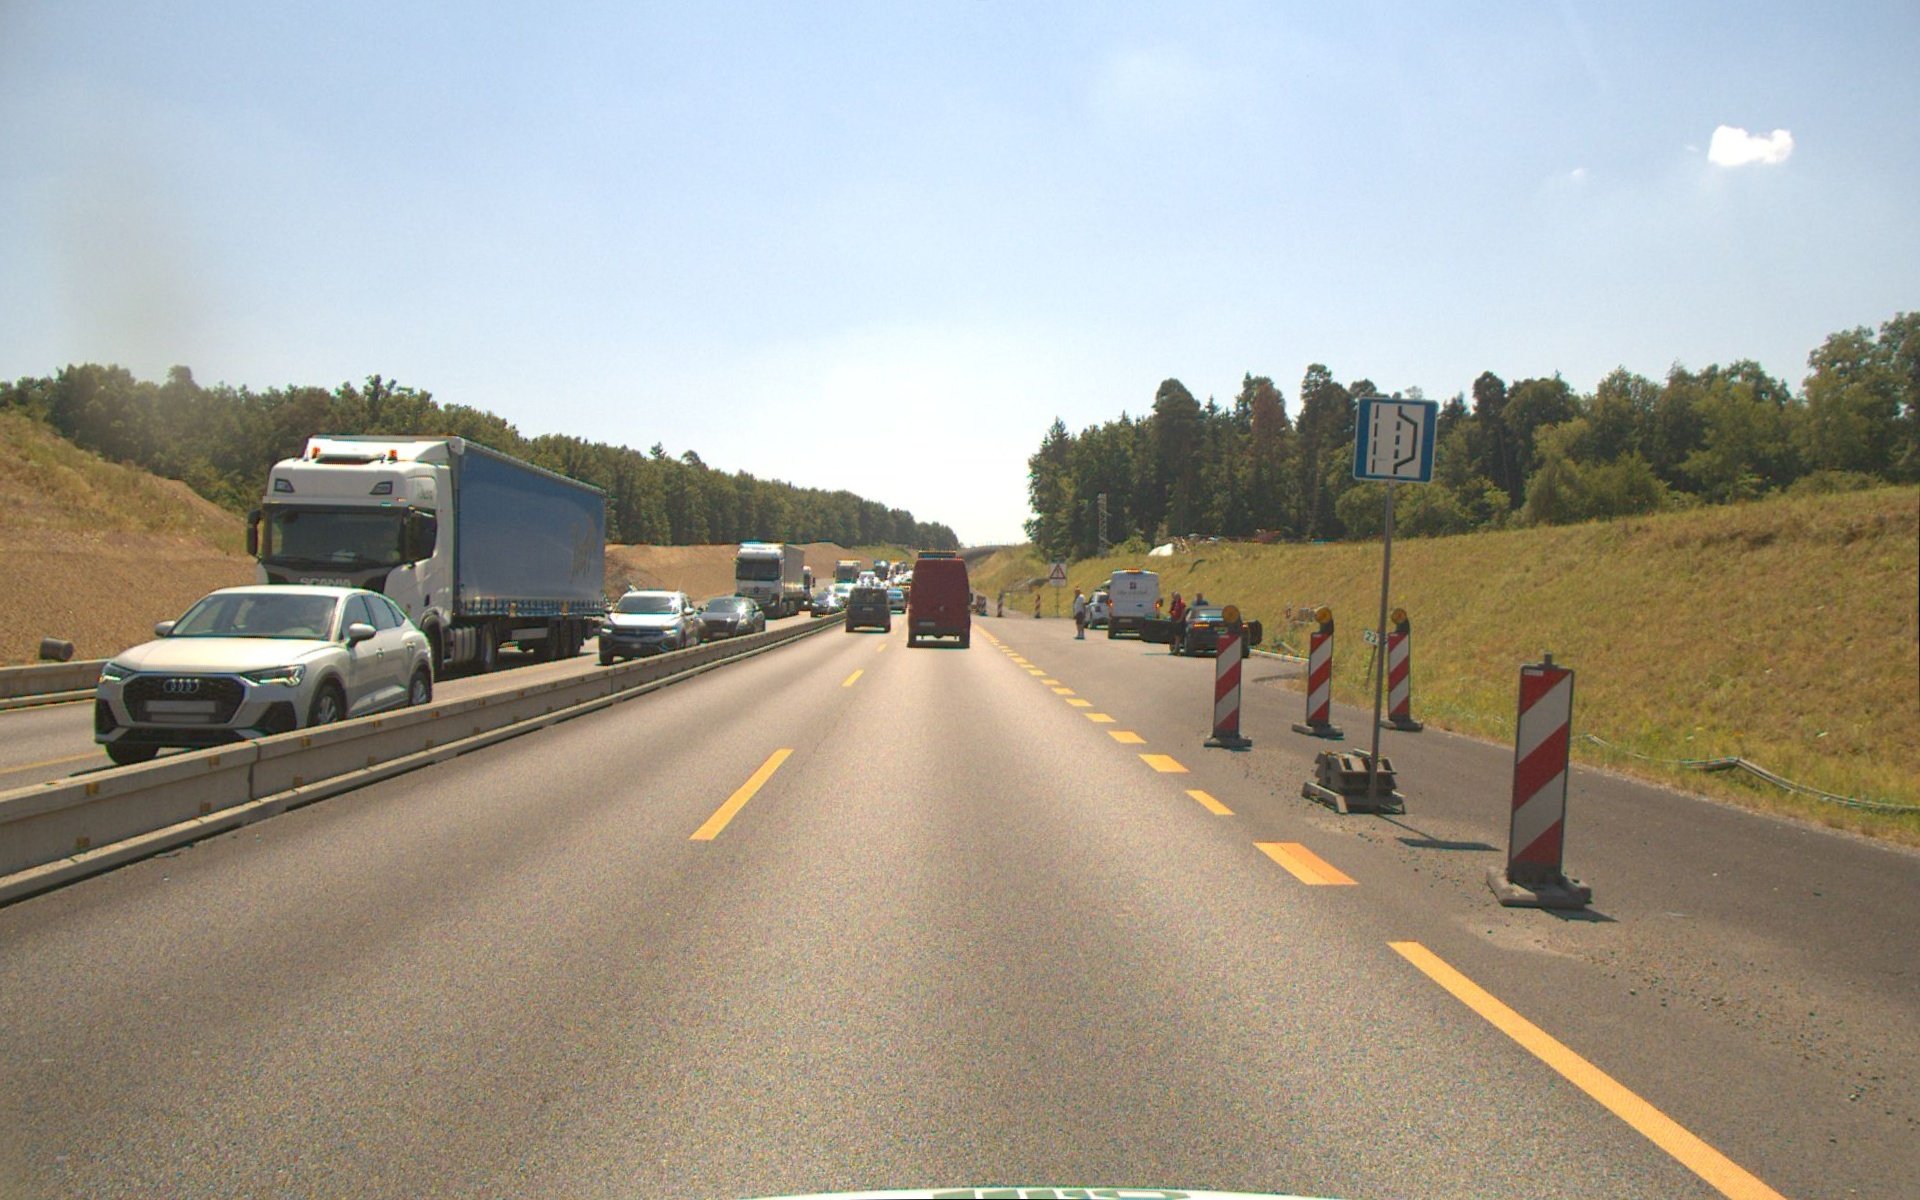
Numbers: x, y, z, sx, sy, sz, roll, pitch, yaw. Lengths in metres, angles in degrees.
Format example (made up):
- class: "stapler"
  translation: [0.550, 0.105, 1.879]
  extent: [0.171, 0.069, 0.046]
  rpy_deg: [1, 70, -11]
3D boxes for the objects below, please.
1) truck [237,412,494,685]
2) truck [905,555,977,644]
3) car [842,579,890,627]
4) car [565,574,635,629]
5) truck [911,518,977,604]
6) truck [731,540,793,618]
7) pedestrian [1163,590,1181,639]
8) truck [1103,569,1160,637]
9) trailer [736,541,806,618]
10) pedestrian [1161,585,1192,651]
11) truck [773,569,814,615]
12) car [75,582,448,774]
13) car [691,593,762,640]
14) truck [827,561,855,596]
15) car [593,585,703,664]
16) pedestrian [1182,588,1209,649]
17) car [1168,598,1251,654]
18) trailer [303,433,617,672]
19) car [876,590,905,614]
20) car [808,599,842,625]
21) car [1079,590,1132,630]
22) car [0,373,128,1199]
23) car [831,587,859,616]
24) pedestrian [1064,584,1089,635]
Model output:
- class: "truck"
  translation: [-9.828, -0.797, 27.905]
  extent: [2.539, 4.124, 5.148]
  rpy_deg: [1, 0, -2]
- class: "truck"
  translation: [-0.612, 0.021, 52.477]
  extent: [2.109, 2.635, 5.332]
  rpy_deg: [1, -1, -1]
- class: "car"
  translation: [-3.841, 0.105, 68.140]
  extent: [1.716, 1.856, 4.781]
  rpy_deg: [1, 0, -1]
- class: "car"
  translation: [-13.168, 0.084, 60.717]
  extent: [1.682, 1.908, 3.999]
  rpy_deg: [1, -1, -1]
- class: "truck"
  translation: [-1.225, -2.617, 120.095]
  extent: [4.311, 5.592, 16.598]
  rpy_deg: [1, -1, -1]
- class: "truck"
  translation: [-10.774, -1.084, 90.317]
  extent: [2.712, 4.115, 4.942]
  rpy_deg: [1, -1, -1]
- class: "pedestrian"
  translation: [7.903, 0.548, 61.714]
  extent: [0.552, 1.827, 0.667]
  rpy_deg: [1, -1, -3]
- class: "truck"
  translation: [6.768, 0.093, 65.389]
  extent: [2.085, 2.500, 5.929]
  rpy_deg: [1, 0, 6]
- class: "trailer"
  translation: [-10.938, -1.142, 97.095]
  extent: [2.734, 4.146, 13.707]
  rpy_deg: [1, 0, -1]
- class: "pedestrian"
  translation: [6.160, 0.501, 47.090]
  extent: [0.631, 1.860, 0.555]
  rpy_deg: [1, 0, -22]
- class: "truck"
  translation: [-11.648, -0.525, 116.315]
  extent: [2.350, 3.112, 5.061]
  rpy_deg: [1, -1, 0]
- class: "car"
  translation: [-6.312, 0.660, 15.525]
  extent: [1.771, 1.514, 4.241]
  rpy_deg: [1, -1, -2]
- class: "car"
  translation: [-7.394, 0.527, 52.706]
  extent: [1.694, 1.411, 4.858]
  rpy_deg: [1, -1, -2]
- class: "truck"
  translation: [-13.599, -2.387, 189.422]
  extent: [2.457, 3.680, 9.639]
  rpy_deg: [1, -1, 0]
- class: "car"
  translation: [-6.798, 0.500, 36.435]
  extent: [1.740, 1.582, 4.137]
  rpy_deg: [-1, 0, -2]
- class: "pedestrian"
  translation: [7.199, 0.560, 50.606]
  extent: [0.613, 1.860, 0.640]
  rpy_deg: [1, 0, -13]
- class: "car"
  translation: [7.062, 0.711, 47.243]
  extent: [1.620, 1.451, 4.544]
  rpy_deg: [-2, 1, -1]
- class: "trailer"
  translation: [-9.970, -0.810, 35.183]
  extent: [2.599, 4.007, 13.992]
  rpy_deg: [1, 0, -1]
- class: "car"
  translation: [-4.668, 0.170, 111.286]
  extent: [1.794, 1.549, 3.960]
  rpy_deg: [1, -1, -1]
- class: "car"
  translation: [-7.844, 0.715, 96.501]
  extent: [1.692, 1.411, 4.482]
  rpy_deg: [1, -1, -2]
- class: "car"
  translation: [6.915, 0.456, 79.033]
  extent: [1.740, 1.706, 4.851]
  rpy_deg: [2, 1, -5]
- class: "car"
  translation: [-2.779, 0.476, 0.986]
  extent: [1.836, 1.883, 5.477]
  rpy_deg: [1, 0, -1]
- class: "car"
  translation: [-8.266, 0.112, 119.239]
  extent: [1.788, 1.960, 5.261]
  rpy_deg: [1, -1, -2]
- class: "pedestrian"
  translation: [4.354, 0.357, 61.906]
  extent: [0.710, 1.860, 0.718]
  rpy_deg: [1, -1, -12]
